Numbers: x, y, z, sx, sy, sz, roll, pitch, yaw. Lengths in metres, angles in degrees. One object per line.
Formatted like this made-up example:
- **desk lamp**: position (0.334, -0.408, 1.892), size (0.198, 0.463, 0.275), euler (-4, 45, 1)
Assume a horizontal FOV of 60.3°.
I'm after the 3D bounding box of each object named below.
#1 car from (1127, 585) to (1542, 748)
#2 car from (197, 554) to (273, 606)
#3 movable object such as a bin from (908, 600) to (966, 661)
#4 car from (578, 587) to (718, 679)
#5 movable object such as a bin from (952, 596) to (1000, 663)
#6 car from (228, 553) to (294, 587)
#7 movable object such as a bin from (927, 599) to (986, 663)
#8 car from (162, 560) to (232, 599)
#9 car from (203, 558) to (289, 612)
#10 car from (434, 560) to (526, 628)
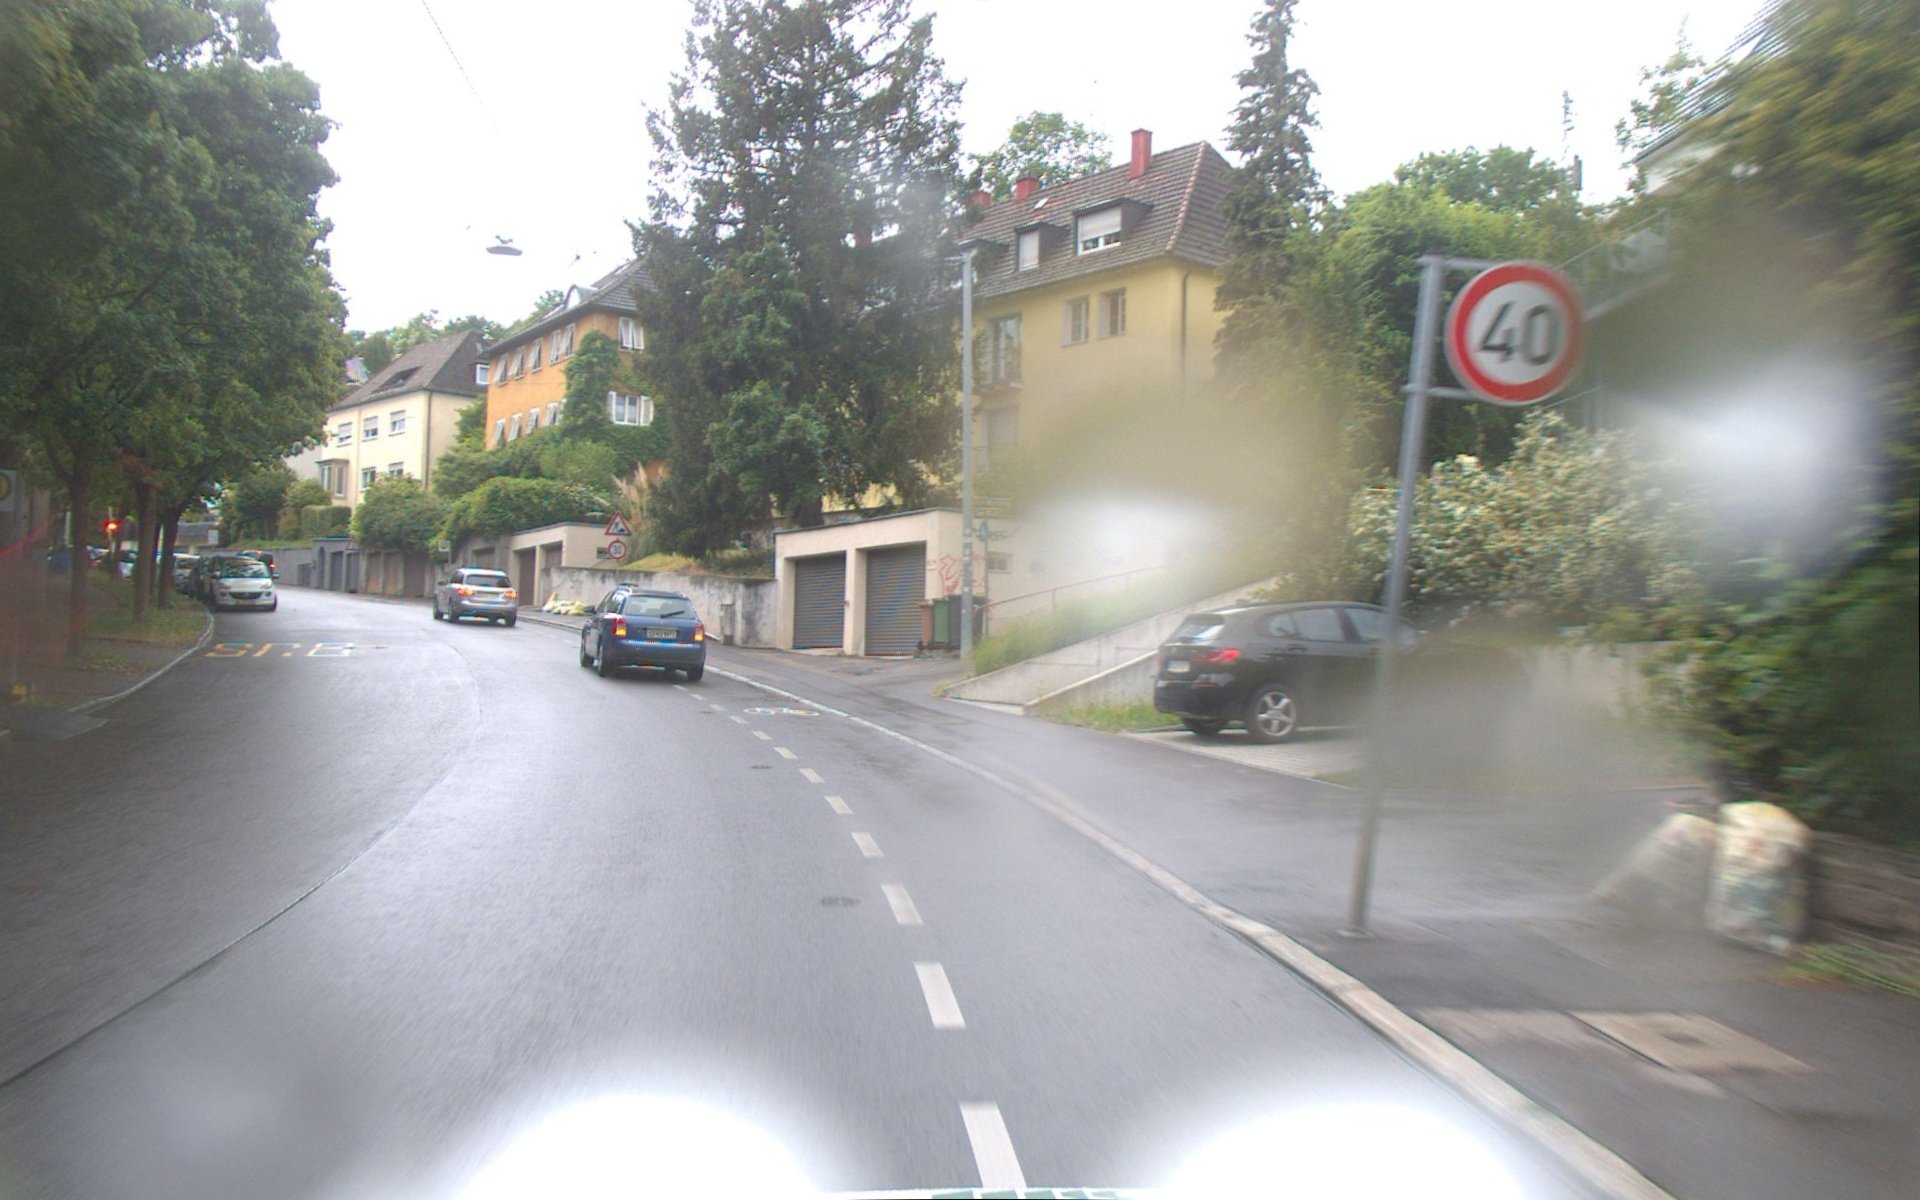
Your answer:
- **car**: position (4.055, 0.656, 18.044), size (4.102, 1.534, 1.733), euler (-2, 1, -16)
- **car**: position (-24.274, -0.680, 55.316), size (1.858, 1.624, 3.960), euler (1, 1, -30)
- **movable object such as a bin**: position (-0.456, 0.595, 32.747), size (0.852, 1.162, 0.789), euler (0, 0, -36)
- **car**: position (-5.451, 0.509, 28.485), size (1.825, 1.438, 4.339), euler (0, 1, -18)
- **movable object such as a bin**: position (0.305, 0.554, 31.482), size (0.697, 1.244, 0.573), euler (0, 0, -36)
- **car**: position (-36.793, -1.593, 87.012), size (1.984, 1.713, 3.937), euler (1, 1, -43)
- **movable object such as a bin**: position (-0.065, 0.583, 32.054), size (0.852, 1.206, 0.777), euler (0, 0, -36)
- **car**: position (-30.587, -0.842, 66.268), size (1.976, 1.501, 3.953), euler (0, 1, -34)
- **car**: position (-22.055, -0.482, 51.010), size (1.973, 1.556, 3.960), euler (1, 1, -30)
- **car**: position (-13.403, -0.187, 46.043), size (1.924, 1.588, 4.234), euler (3, 2, -23)
